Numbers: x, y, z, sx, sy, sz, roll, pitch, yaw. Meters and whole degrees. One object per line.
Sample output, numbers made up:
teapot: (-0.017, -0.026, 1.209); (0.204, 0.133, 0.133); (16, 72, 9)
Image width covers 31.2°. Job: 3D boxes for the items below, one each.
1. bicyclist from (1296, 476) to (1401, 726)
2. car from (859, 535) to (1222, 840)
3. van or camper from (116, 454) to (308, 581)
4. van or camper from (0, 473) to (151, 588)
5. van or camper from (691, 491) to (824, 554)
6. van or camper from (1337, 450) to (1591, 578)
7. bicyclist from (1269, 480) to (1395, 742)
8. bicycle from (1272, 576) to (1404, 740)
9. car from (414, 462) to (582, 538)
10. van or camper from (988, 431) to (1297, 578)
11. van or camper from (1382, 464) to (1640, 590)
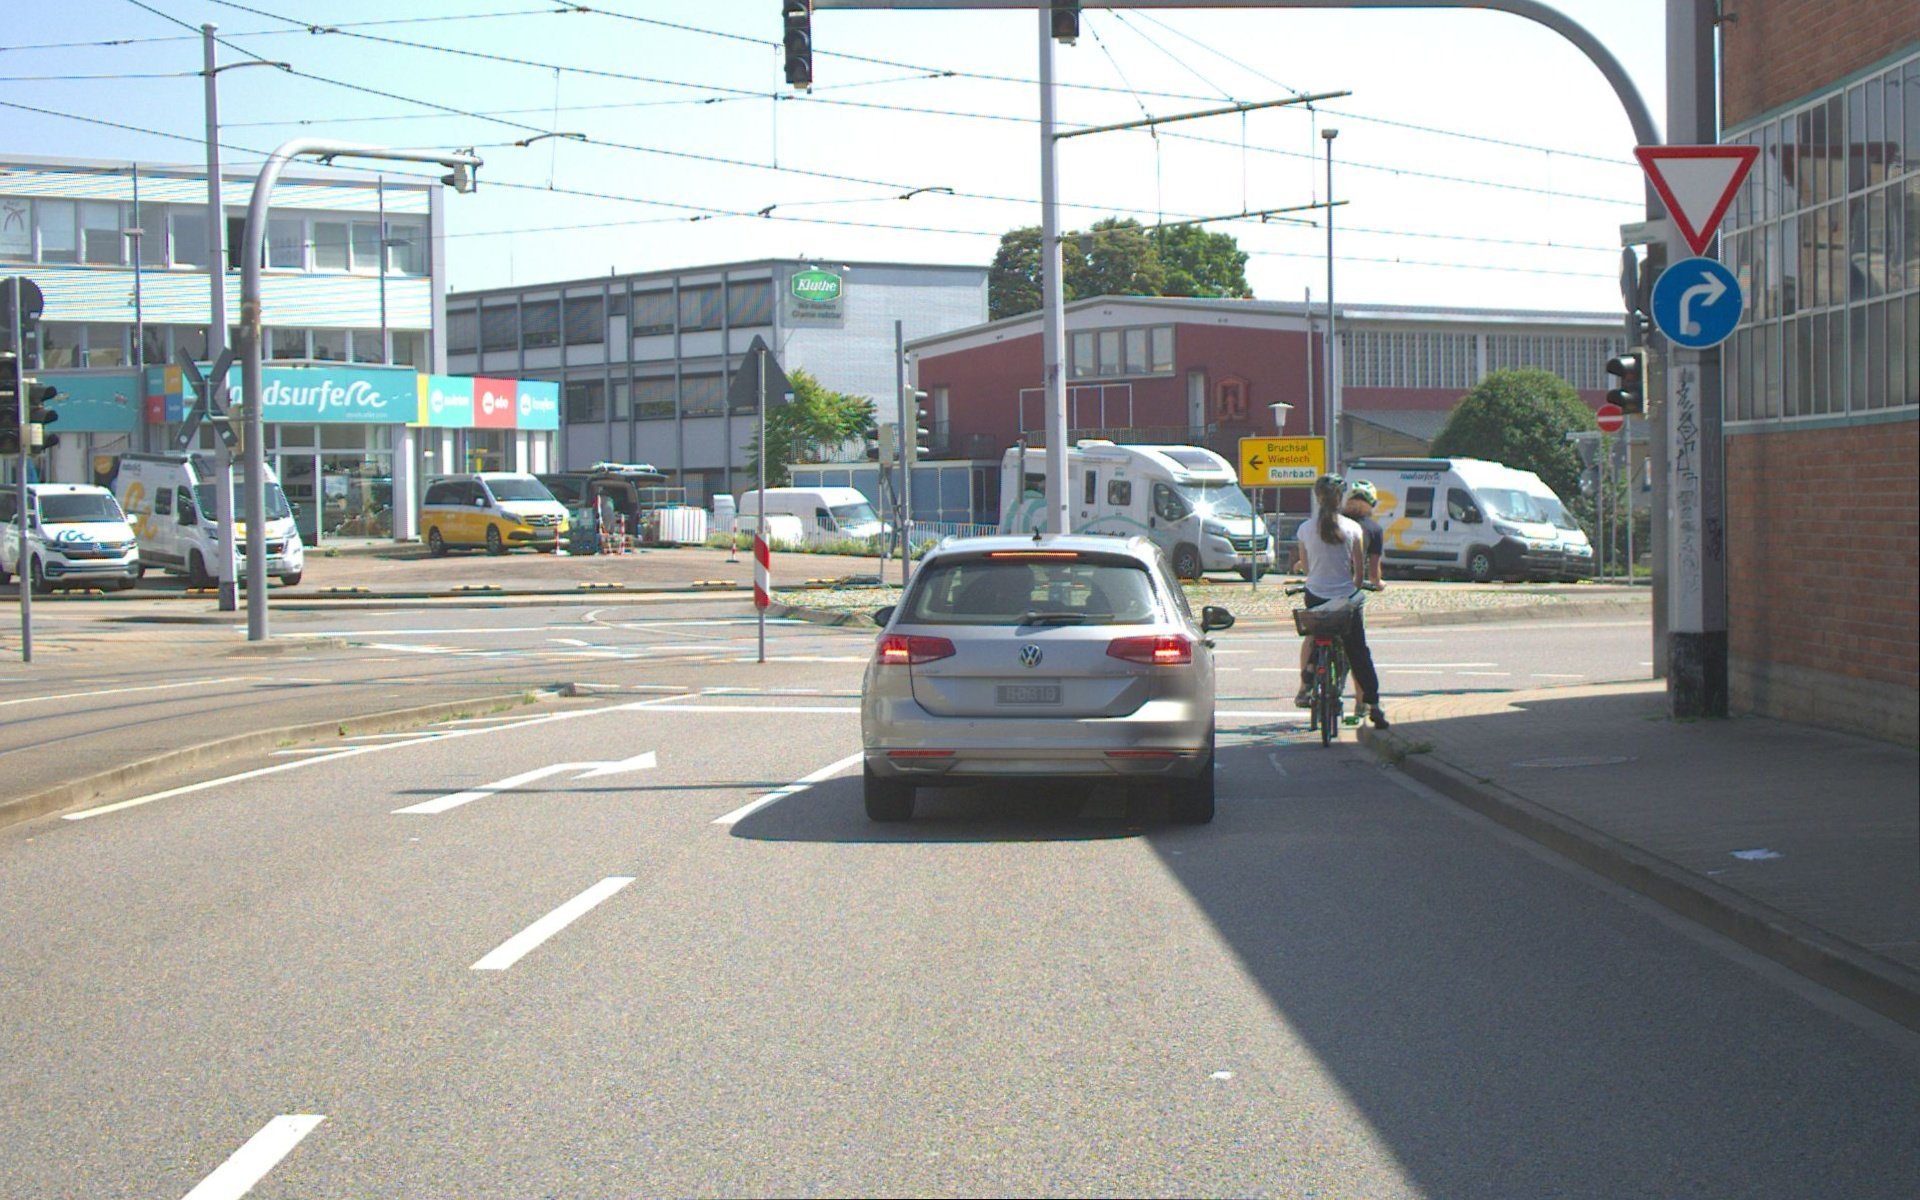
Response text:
bicyclist: (2.862, -0.003, 25.397); (0.708, 1.804, 0.983); (0, 1, 2)
car: (0.488, 0.388, 18.635); (1.746, 1.454, 4.000); (0, 1, 3)
van or camper: (-14.918, -1.687, 68.321); (2.031, 2.288, 5.813); (-2, 4, -30)
van or camper: (-17.508, -1.404, 67.071); (1.993, 2.006, 5.011); (-2, 4, -30)
van or camper: (-6.409, -2.439, 108.591); (3.997, 1.941, 1.995); (1, 2, 44)
van or camper: (10.849, -1.906, 74.401); (2.282, 2.431, 5.386); (-3, 6, -36)
bicyclist: (2.493, 0.060, 23.126); (0.786, 1.716, 1.147); (0, 1, 3)
bicycle: (2.541, 0.369, 23.294); (0.794, 1.018, 2.150); (0, 1, 4)
car: (-11.070, -2.375, 82.083); (1.938, 1.753, 5.122); (-1, 1, -33)
van or camper: (3.822, -2.111, 73.614); (2.347, 2.920, 6.984); (-3, 5, -42)
van or camper: (12.489, -1.717, 78.374); (2.282, 2.602, 5.892); (-3, 4, -36)
